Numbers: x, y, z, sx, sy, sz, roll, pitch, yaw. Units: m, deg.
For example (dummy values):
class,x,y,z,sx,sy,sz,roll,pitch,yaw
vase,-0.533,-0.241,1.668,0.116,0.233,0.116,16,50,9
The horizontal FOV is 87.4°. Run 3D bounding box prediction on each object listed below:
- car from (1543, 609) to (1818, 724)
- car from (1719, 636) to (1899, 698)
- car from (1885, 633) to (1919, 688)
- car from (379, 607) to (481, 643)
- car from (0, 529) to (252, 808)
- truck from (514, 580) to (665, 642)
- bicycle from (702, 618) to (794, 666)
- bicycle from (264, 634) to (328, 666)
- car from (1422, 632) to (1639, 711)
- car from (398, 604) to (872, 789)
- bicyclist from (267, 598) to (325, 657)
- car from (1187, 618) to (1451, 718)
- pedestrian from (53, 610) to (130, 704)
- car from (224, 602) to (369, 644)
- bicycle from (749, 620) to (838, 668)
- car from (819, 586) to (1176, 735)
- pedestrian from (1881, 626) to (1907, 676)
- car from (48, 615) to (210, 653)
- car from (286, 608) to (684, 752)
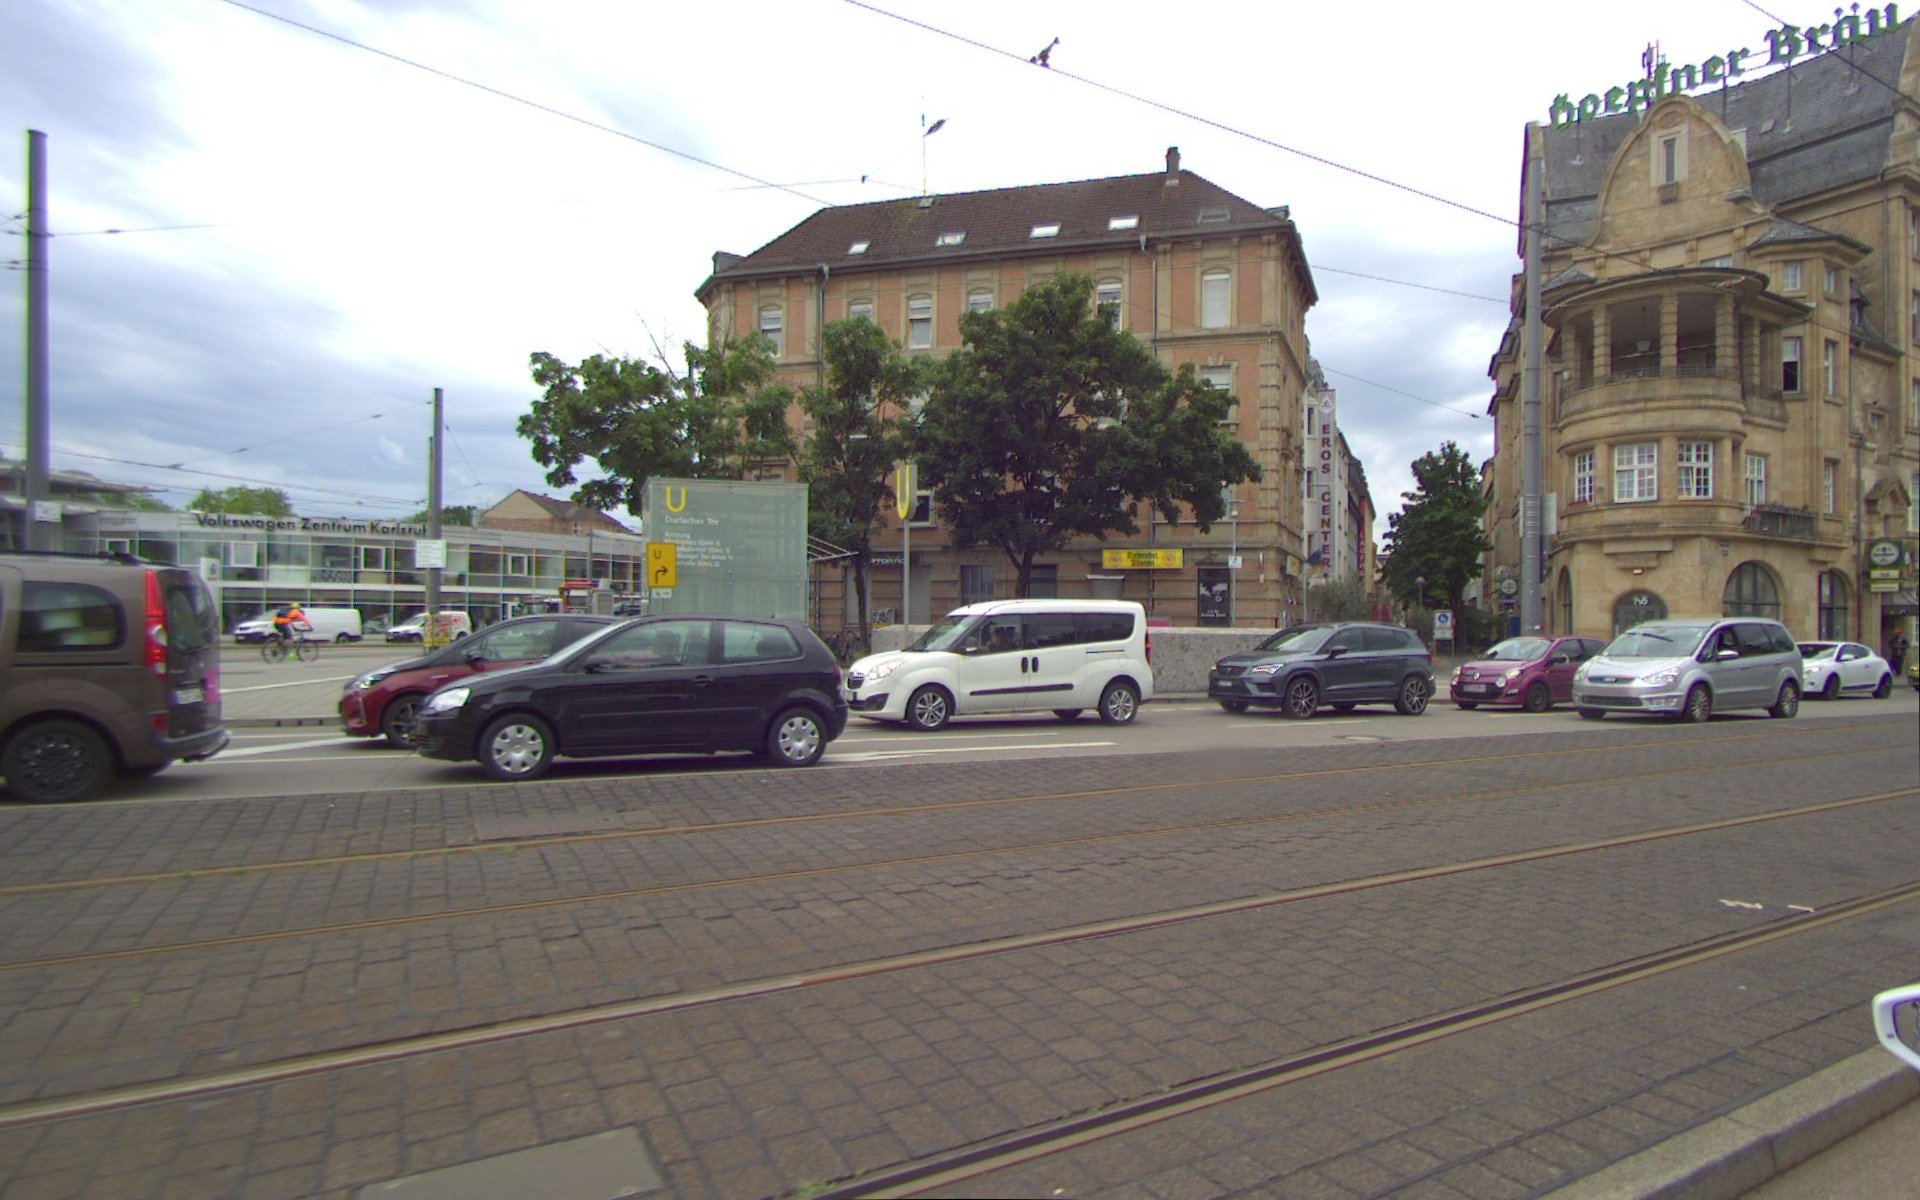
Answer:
class,x,y,z,sx,sy,sz,roll,pitch,yaw
car,12.347,1.087,17.158,4.848,1.728,1.856,1,-2,-28
car,21.096,1.607,24.957,4.202,1.398,1.920,1,-1,-26
car,29.016,1.706,28.706,4.357,1.530,1.898,1,-2,-18
car,-28.434,1.342,54.028,1.963,1.863,4.517,0,-1,27
car,-7.943,0.463,7.263,4.328,1.925,1.684,1,-1,-26
truck,-23.169,0.812,63.484,2.753,3.596,9.206,1,-2,31
bicycle,-6.478,1.295,30.893,0.943,1.372,3.116,1,-2,29
bicycle,-19.210,1.437,29.100,0.547,0.859,2.073,0,-1,-3
car,11.269,1.378,19.842,3.843,1.417,1.858,1,-3,-26
car,-2.986,0.820,9.543,3.946,1.461,1.684,1,-2,-26
bicyclist,-19.242,0.796,29.149,0.813,1.642,1.321,0,-1,-3
car,6.253,1.153,17.505,4.243,1.554,1.858,1,-3,-25
pedestrian,-16.412,1.063,19.002,0.895,1.751,0.602,1,-1,-3
car,-31.316,1.086,47.640,2.123,1.881,5.443,0,-1,25
bicycle,-5.045,1.332,30.687,0.943,1.372,3.116,1,-2,29
car,0.600,0.852,14.967,5.030,1.941,1.858,1,-1,-25
pedestrian,33.603,1.824,36.136,0.757,1.751,0.492,1,-1,-33
car,-34.164,1.381,41.470,1.962,1.439,4.747,0,-1,25
car,-5.414,0.877,11.840,3.946,1.461,1.684,1,-2,-26
